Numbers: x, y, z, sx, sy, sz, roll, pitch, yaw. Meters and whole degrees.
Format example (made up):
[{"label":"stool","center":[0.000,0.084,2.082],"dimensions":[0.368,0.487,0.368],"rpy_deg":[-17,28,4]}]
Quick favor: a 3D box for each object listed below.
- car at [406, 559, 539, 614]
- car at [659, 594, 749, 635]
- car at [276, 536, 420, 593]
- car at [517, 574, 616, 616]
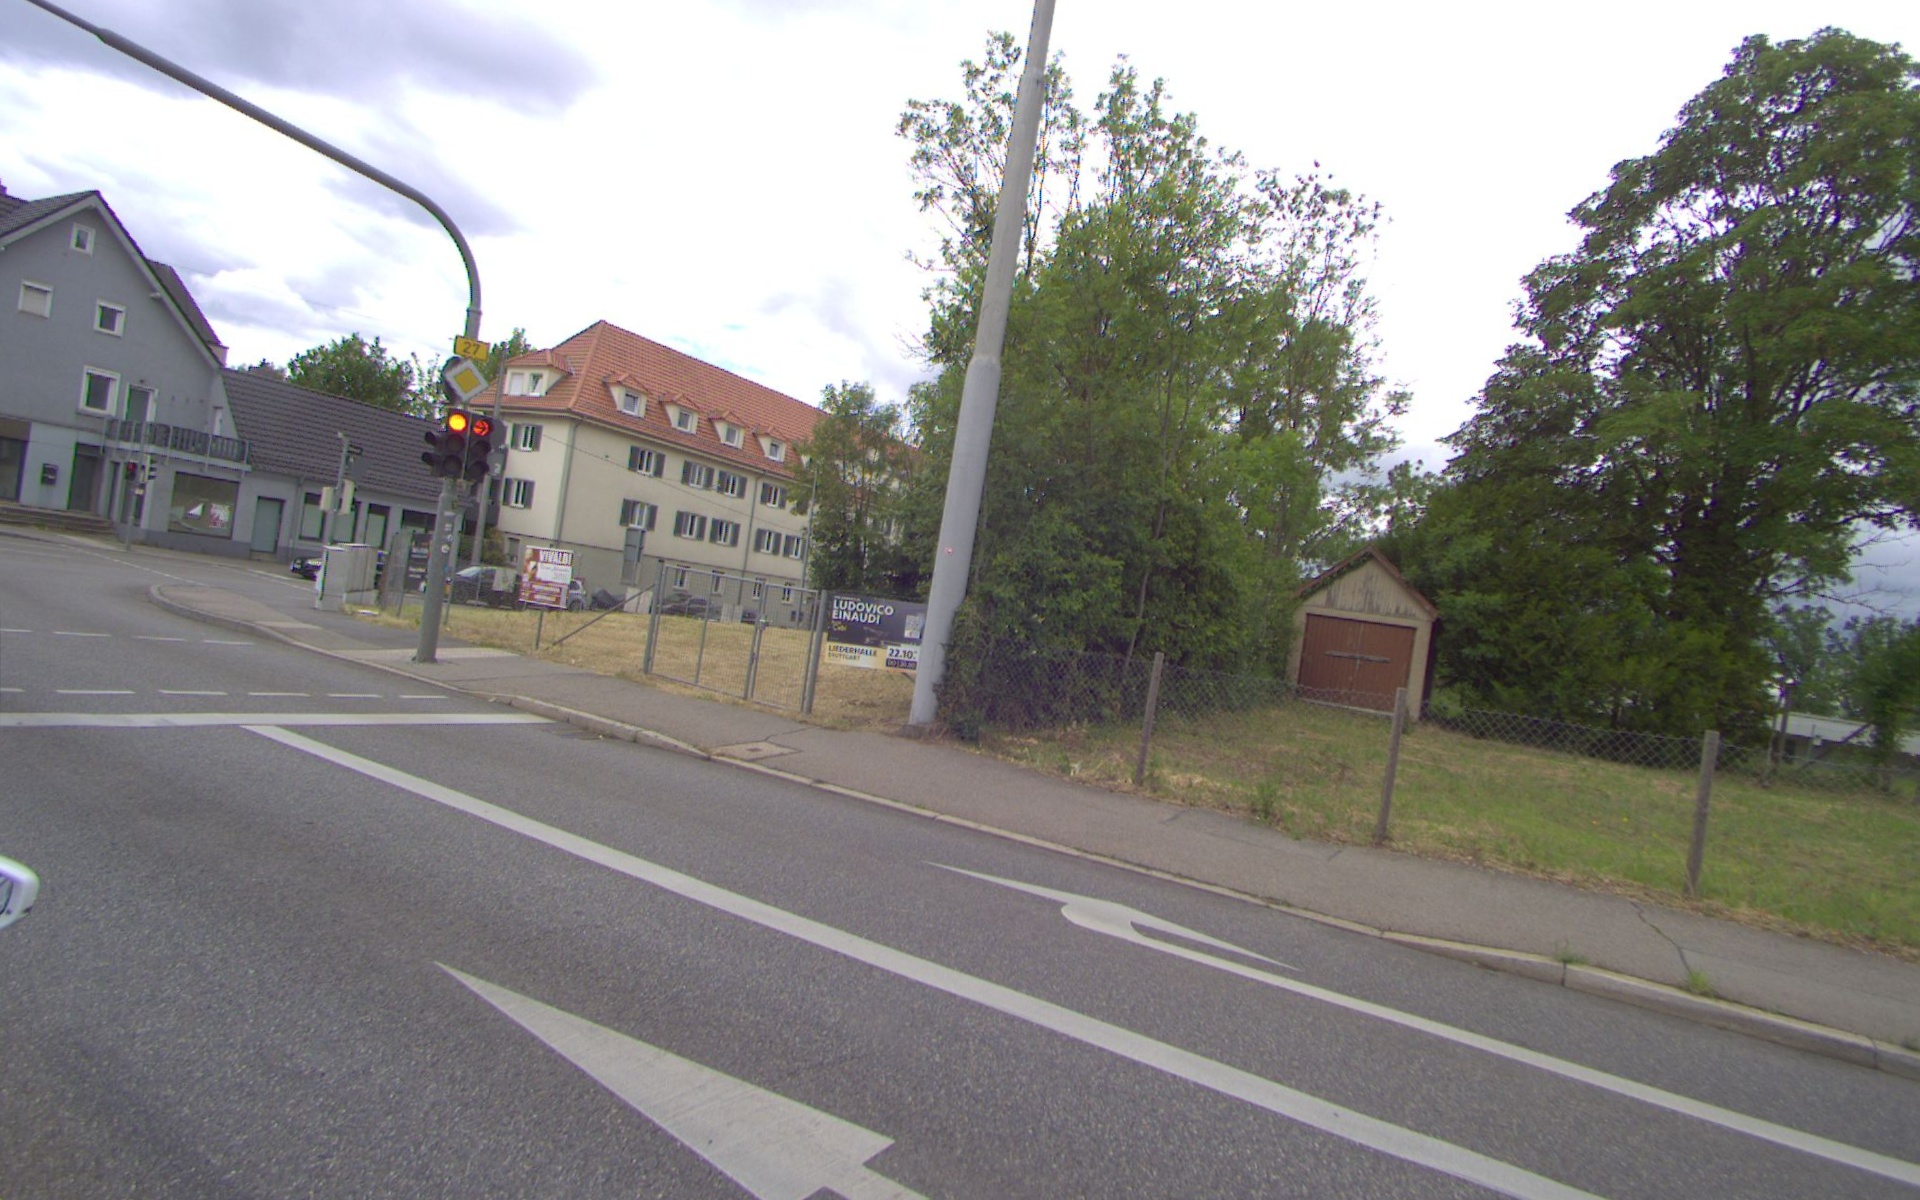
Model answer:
[{"label":"car","center":[-18.350,-0.485,38.049],"dimensions":[1.769,1.386,4.100],"rpy_deg":[7,-3,30]},{"label":"car","center":[-12.421,0.737,49.057],"dimensions":[1.769,1.386,4.100],"rpy_deg":[7,-3,30]},{"label":"car","center":[-22.613,-1.274,37.314],"dimensions":[1.769,1.386,4.100],"rpy_deg":[7,-3,30]},{"label":"car","center":[-18.917,-0.217,48.541],"dimensions":[1.769,1.386,4.100],"rpy_deg":[7,-3,30]}]
